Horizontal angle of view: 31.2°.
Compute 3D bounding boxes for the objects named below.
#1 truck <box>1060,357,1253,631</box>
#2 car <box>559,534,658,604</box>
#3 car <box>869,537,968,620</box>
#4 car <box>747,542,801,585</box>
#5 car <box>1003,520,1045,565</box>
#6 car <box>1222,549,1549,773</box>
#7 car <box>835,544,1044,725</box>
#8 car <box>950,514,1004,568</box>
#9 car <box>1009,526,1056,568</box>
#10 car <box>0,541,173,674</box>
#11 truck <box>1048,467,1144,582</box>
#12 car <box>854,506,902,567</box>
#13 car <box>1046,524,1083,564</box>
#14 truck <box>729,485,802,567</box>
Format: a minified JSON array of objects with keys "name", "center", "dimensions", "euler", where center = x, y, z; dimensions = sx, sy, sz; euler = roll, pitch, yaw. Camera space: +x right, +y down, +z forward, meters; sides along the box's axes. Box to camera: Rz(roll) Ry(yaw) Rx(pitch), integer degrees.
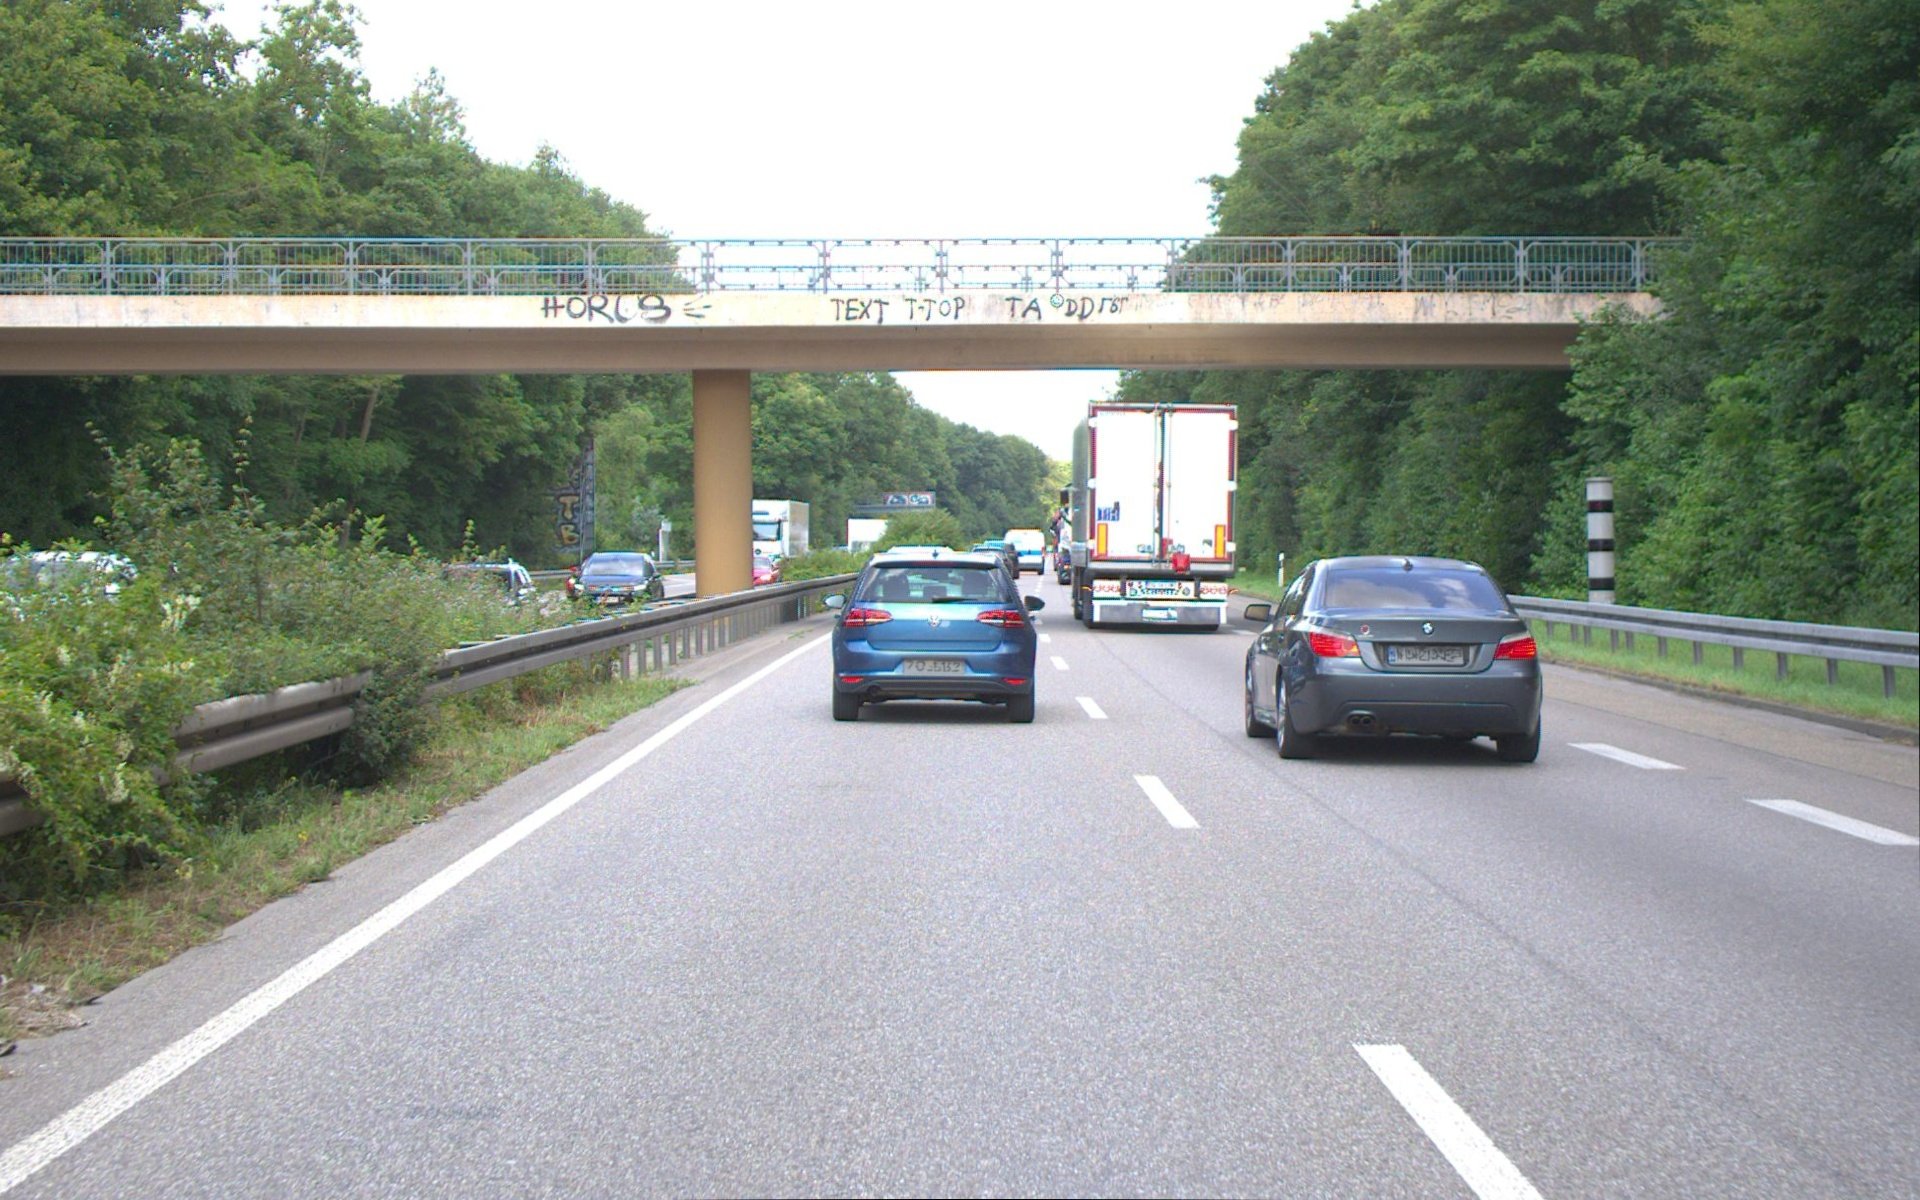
[{"name":"truck","center":[3.547,-1.927,64.789],"dimensions":[3.242,4.700,11.007],"euler":[0,1,1]},{"name":"car","center":[-8.278,-0.750,81.326],"dimensions":[1.865,1.583,4.565],"euler":[0,1,0]},{"name":"car","center":[-0.758,-0.426,64.939],"dimensions":[1.665,1.495,4.152],"euler":[1,1,2]},{"name":"car","center":[-6.585,-1.315,122.075],"dimensions":[1.685,1.471,4.437],"euler":[0,1,0]},{"name":"car","center":[3.288,-2.974,177.411],"dimensions":[1.993,2.247,4.442],"euler":[0,1,-1]},{"name":"car","center":[3.046,0.374,25.550],"dimensions":[1.774,1.470,4.880],"euler":[1,1,0]},{"name":"car","center":[-0.132,0.252,30.501],"dimensions":[1.705,1.465,4.000],"euler":[1,1,1]},{"name":"car","center":[0.657,-2.229,130.791],"dimensions":[1.954,2.007,4.000],"euler":[0,1,1]},{"name":"car","center":[3.287,-2.404,155.021],"dimensions":[1.954,1.849,4.000],"euler":[0,1,3]},{"name":"car","center":[-12.332,0.063,47.691],"dimensions":[1.786,1.733,4.881],"euler":[0,1,-1]},{"name":"truck","center":[5.411,-2.945,138.908],"dimensions":[3.232,4.371,12.971],"euler":[1,0,0]},{"name":"car","center":[-4.417,-3.419,186.438],"dimensions":[2.288,3.221,7.286],"euler":[0,1,1]},{"name":"car","center":[6.198,-3.340,204.362],"dimensions":[1.993,2.319,4.442],"euler":[0,1,-1]},{"name":"truck","center":[-9.721,-3.695,172.202],"dimensions":[3.040,3.973,6.748],"euler":[0,1,2]}]
